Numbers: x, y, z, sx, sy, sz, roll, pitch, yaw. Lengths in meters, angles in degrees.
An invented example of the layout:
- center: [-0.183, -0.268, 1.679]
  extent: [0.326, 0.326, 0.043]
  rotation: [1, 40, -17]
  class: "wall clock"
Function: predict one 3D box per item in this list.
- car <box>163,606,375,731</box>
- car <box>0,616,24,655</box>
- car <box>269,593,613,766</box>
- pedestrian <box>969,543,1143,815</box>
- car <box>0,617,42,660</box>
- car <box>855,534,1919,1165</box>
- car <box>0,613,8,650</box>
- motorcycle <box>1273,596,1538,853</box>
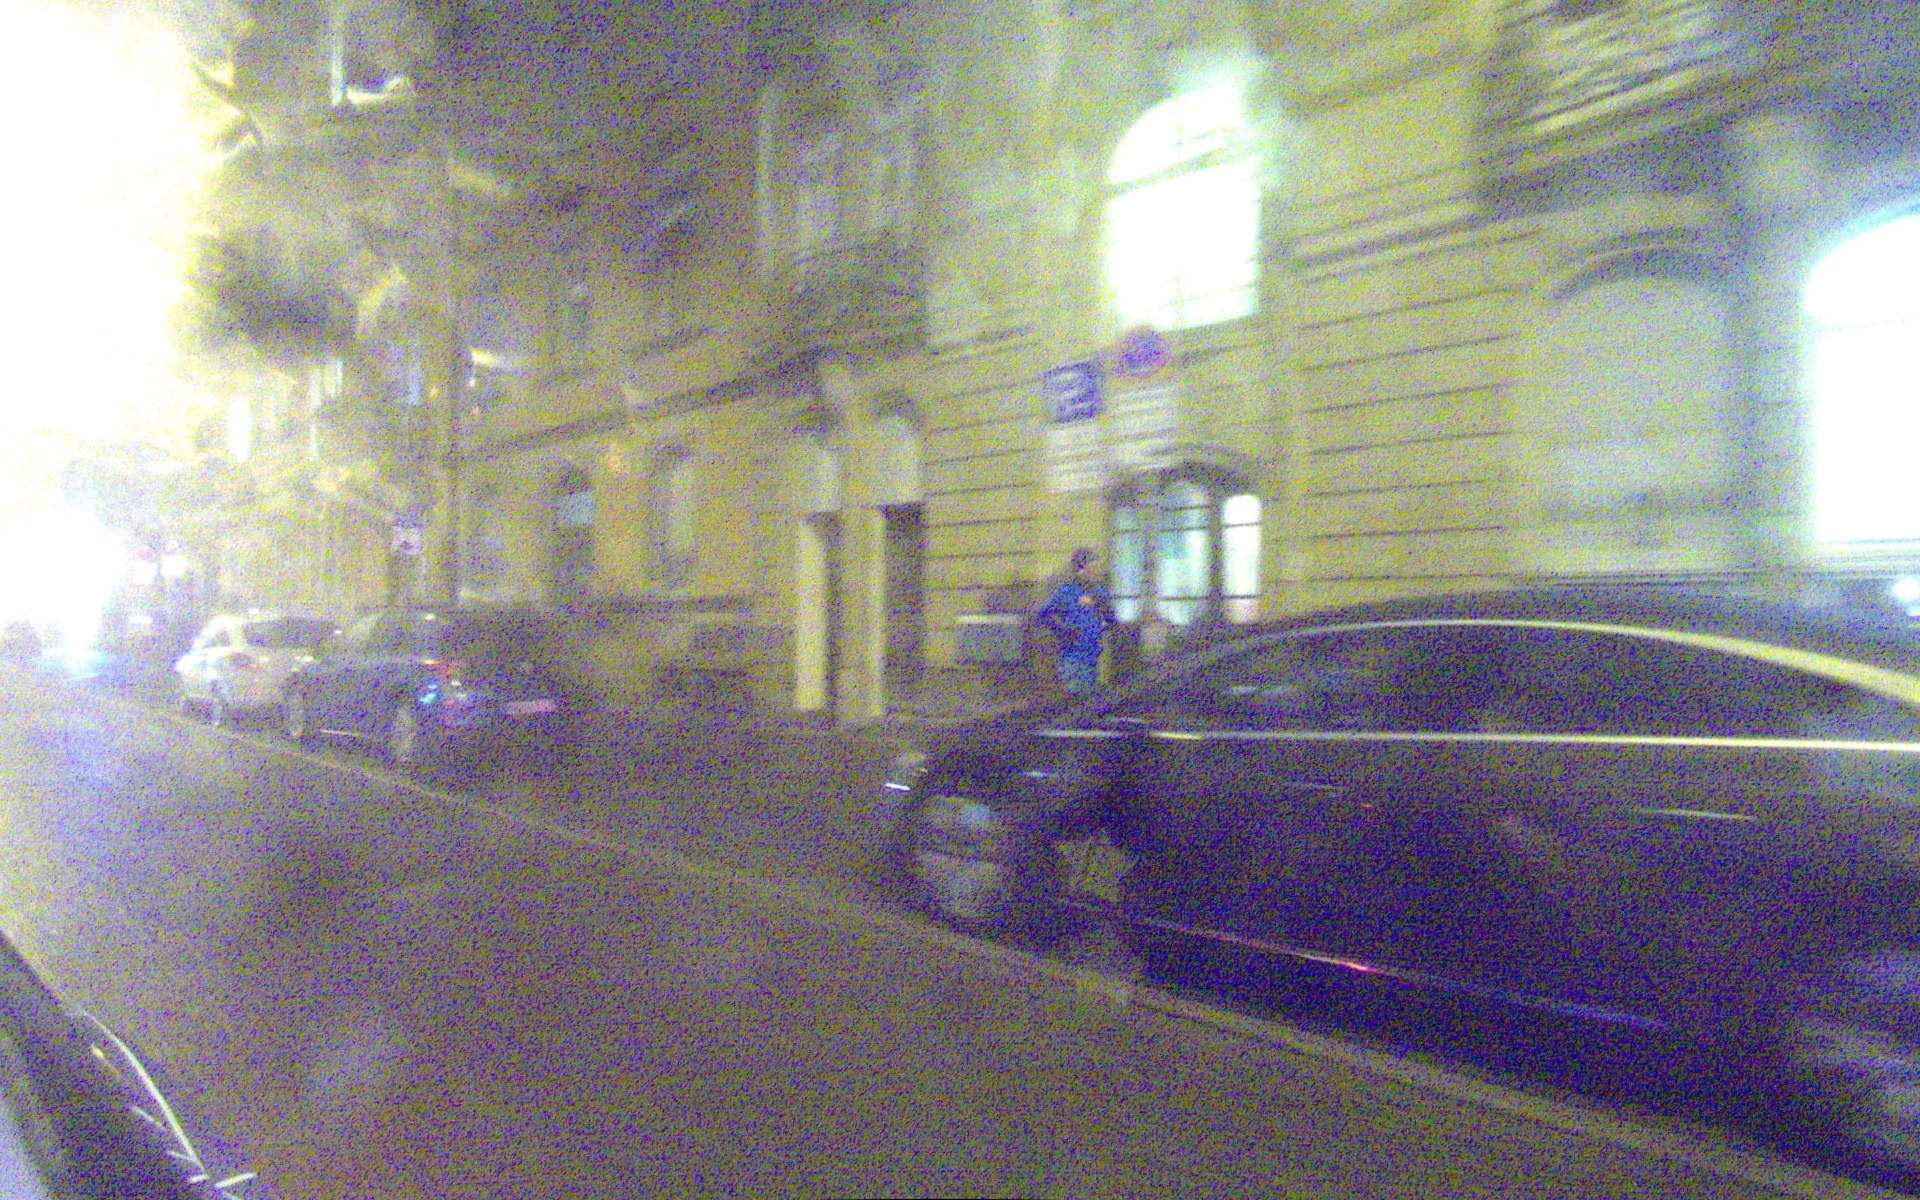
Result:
- center: [-9.745, 0.862, 14.167]
  extent: [3.786, 1.489, 1.697]
  rotation: [-1, 0, 44]
  class: "car"
- center: [-38.525, 1.402, 40.039]
  extent: [3.733, 1.489, 1.828]
  rotation: [-1, 0, 41]
  class: "car"
- center: [-5.610, 0.726, 10.737]
  extent: [4.154, 1.489, 1.699]
  rotation: [-1, -1, 39]
  class: "car"
- center: [0.697, 0.543, 7.489]
  extent: [1.078, 1.846, 0.667]
  rotation: [-1, -1, 43]
  class: "pedestrian"
- center: [-34.377, 1.362, 36.252]
  extent: [3.733, 1.489, 1.828]
  rotation: [-1, 0, 41]
  class: "car"
- center: [1.964, 0.616, 3.897]
  extent: [5.029, 1.489, 1.827]
  rotation: [-1, -1, 42]
  class: "car"
- center: [-43.041, 1.390, 44.193]
  extent: [3.733, 1.592, 1.828]
  rotation: [-1, 0, 41]
  class: "car"
- center: [2.841, 0.727, 6.535]
  extent: [1.457, 1.482, 0.531]
  rotation: [-1, -1, 41]
  class: "motorcycle"
